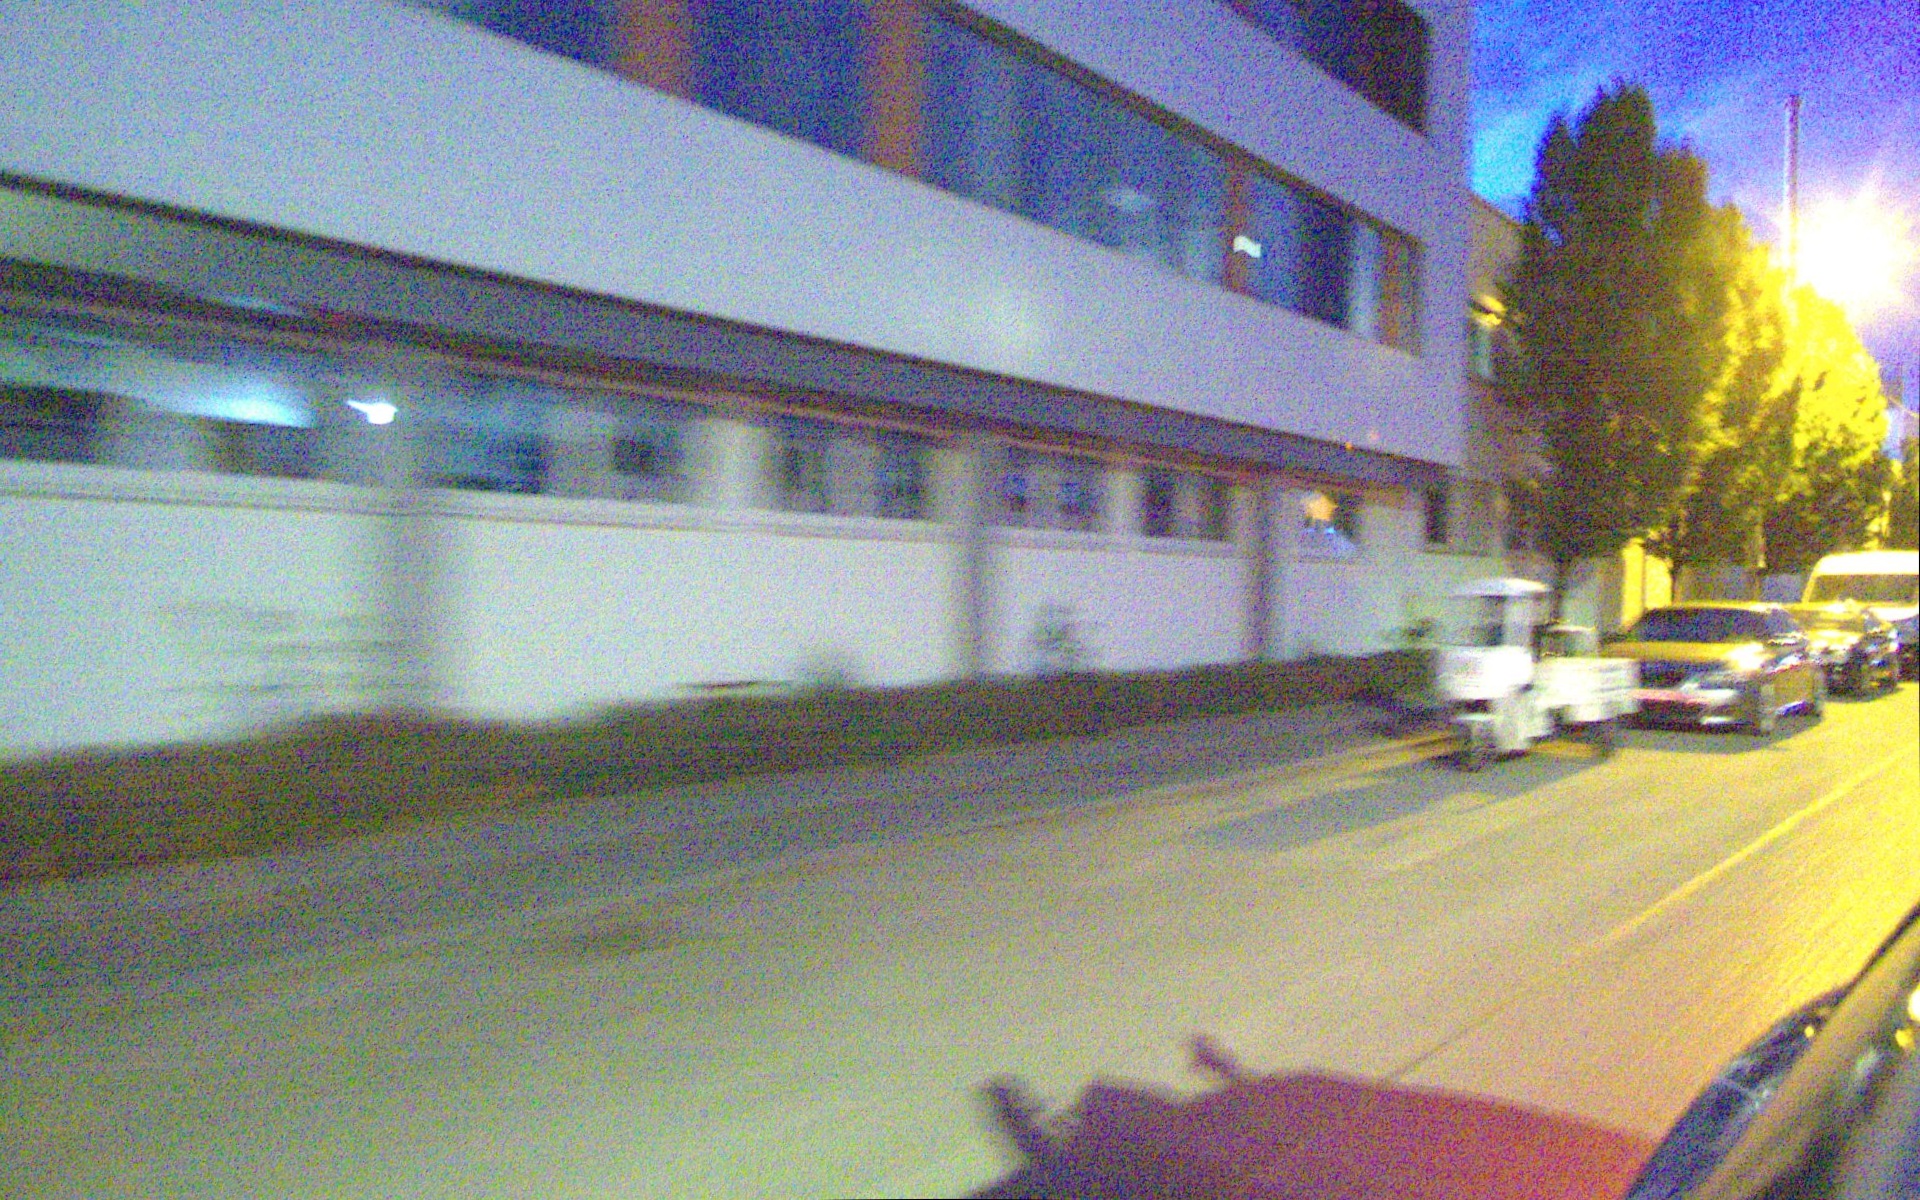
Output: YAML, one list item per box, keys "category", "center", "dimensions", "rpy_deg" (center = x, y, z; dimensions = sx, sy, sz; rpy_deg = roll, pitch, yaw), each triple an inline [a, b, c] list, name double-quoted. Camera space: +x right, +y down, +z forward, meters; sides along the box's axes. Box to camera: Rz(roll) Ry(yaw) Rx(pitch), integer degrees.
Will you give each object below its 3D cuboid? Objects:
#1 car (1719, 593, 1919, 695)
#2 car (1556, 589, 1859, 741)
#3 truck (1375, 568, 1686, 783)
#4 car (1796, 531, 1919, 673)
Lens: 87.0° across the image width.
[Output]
- category: "car"
  center: [14.258, 0.642, 16.554]
  dimensions: [4.465, 1.430, 1.774]
  rpy_deg: [1, 1, -37]
- category: "car"
  center: [9.409, 0.664, 12.567]
  dimensions: [4.921, 1.508, 1.950]
  rpy_deg: [0, 1, -40]
- category: "truck"
  center: [5.520, 0.569, 9.604]
  dimensions: [3.745, 1.665, 1.373]
  rpy_deg: [0, 1, -41]
- category: "car"
  center: [19.151, 0.068, 20.559]
  dimensions: [5.800, 2.558, 1.998]
  rpy_deg: [0, -2, -37]
